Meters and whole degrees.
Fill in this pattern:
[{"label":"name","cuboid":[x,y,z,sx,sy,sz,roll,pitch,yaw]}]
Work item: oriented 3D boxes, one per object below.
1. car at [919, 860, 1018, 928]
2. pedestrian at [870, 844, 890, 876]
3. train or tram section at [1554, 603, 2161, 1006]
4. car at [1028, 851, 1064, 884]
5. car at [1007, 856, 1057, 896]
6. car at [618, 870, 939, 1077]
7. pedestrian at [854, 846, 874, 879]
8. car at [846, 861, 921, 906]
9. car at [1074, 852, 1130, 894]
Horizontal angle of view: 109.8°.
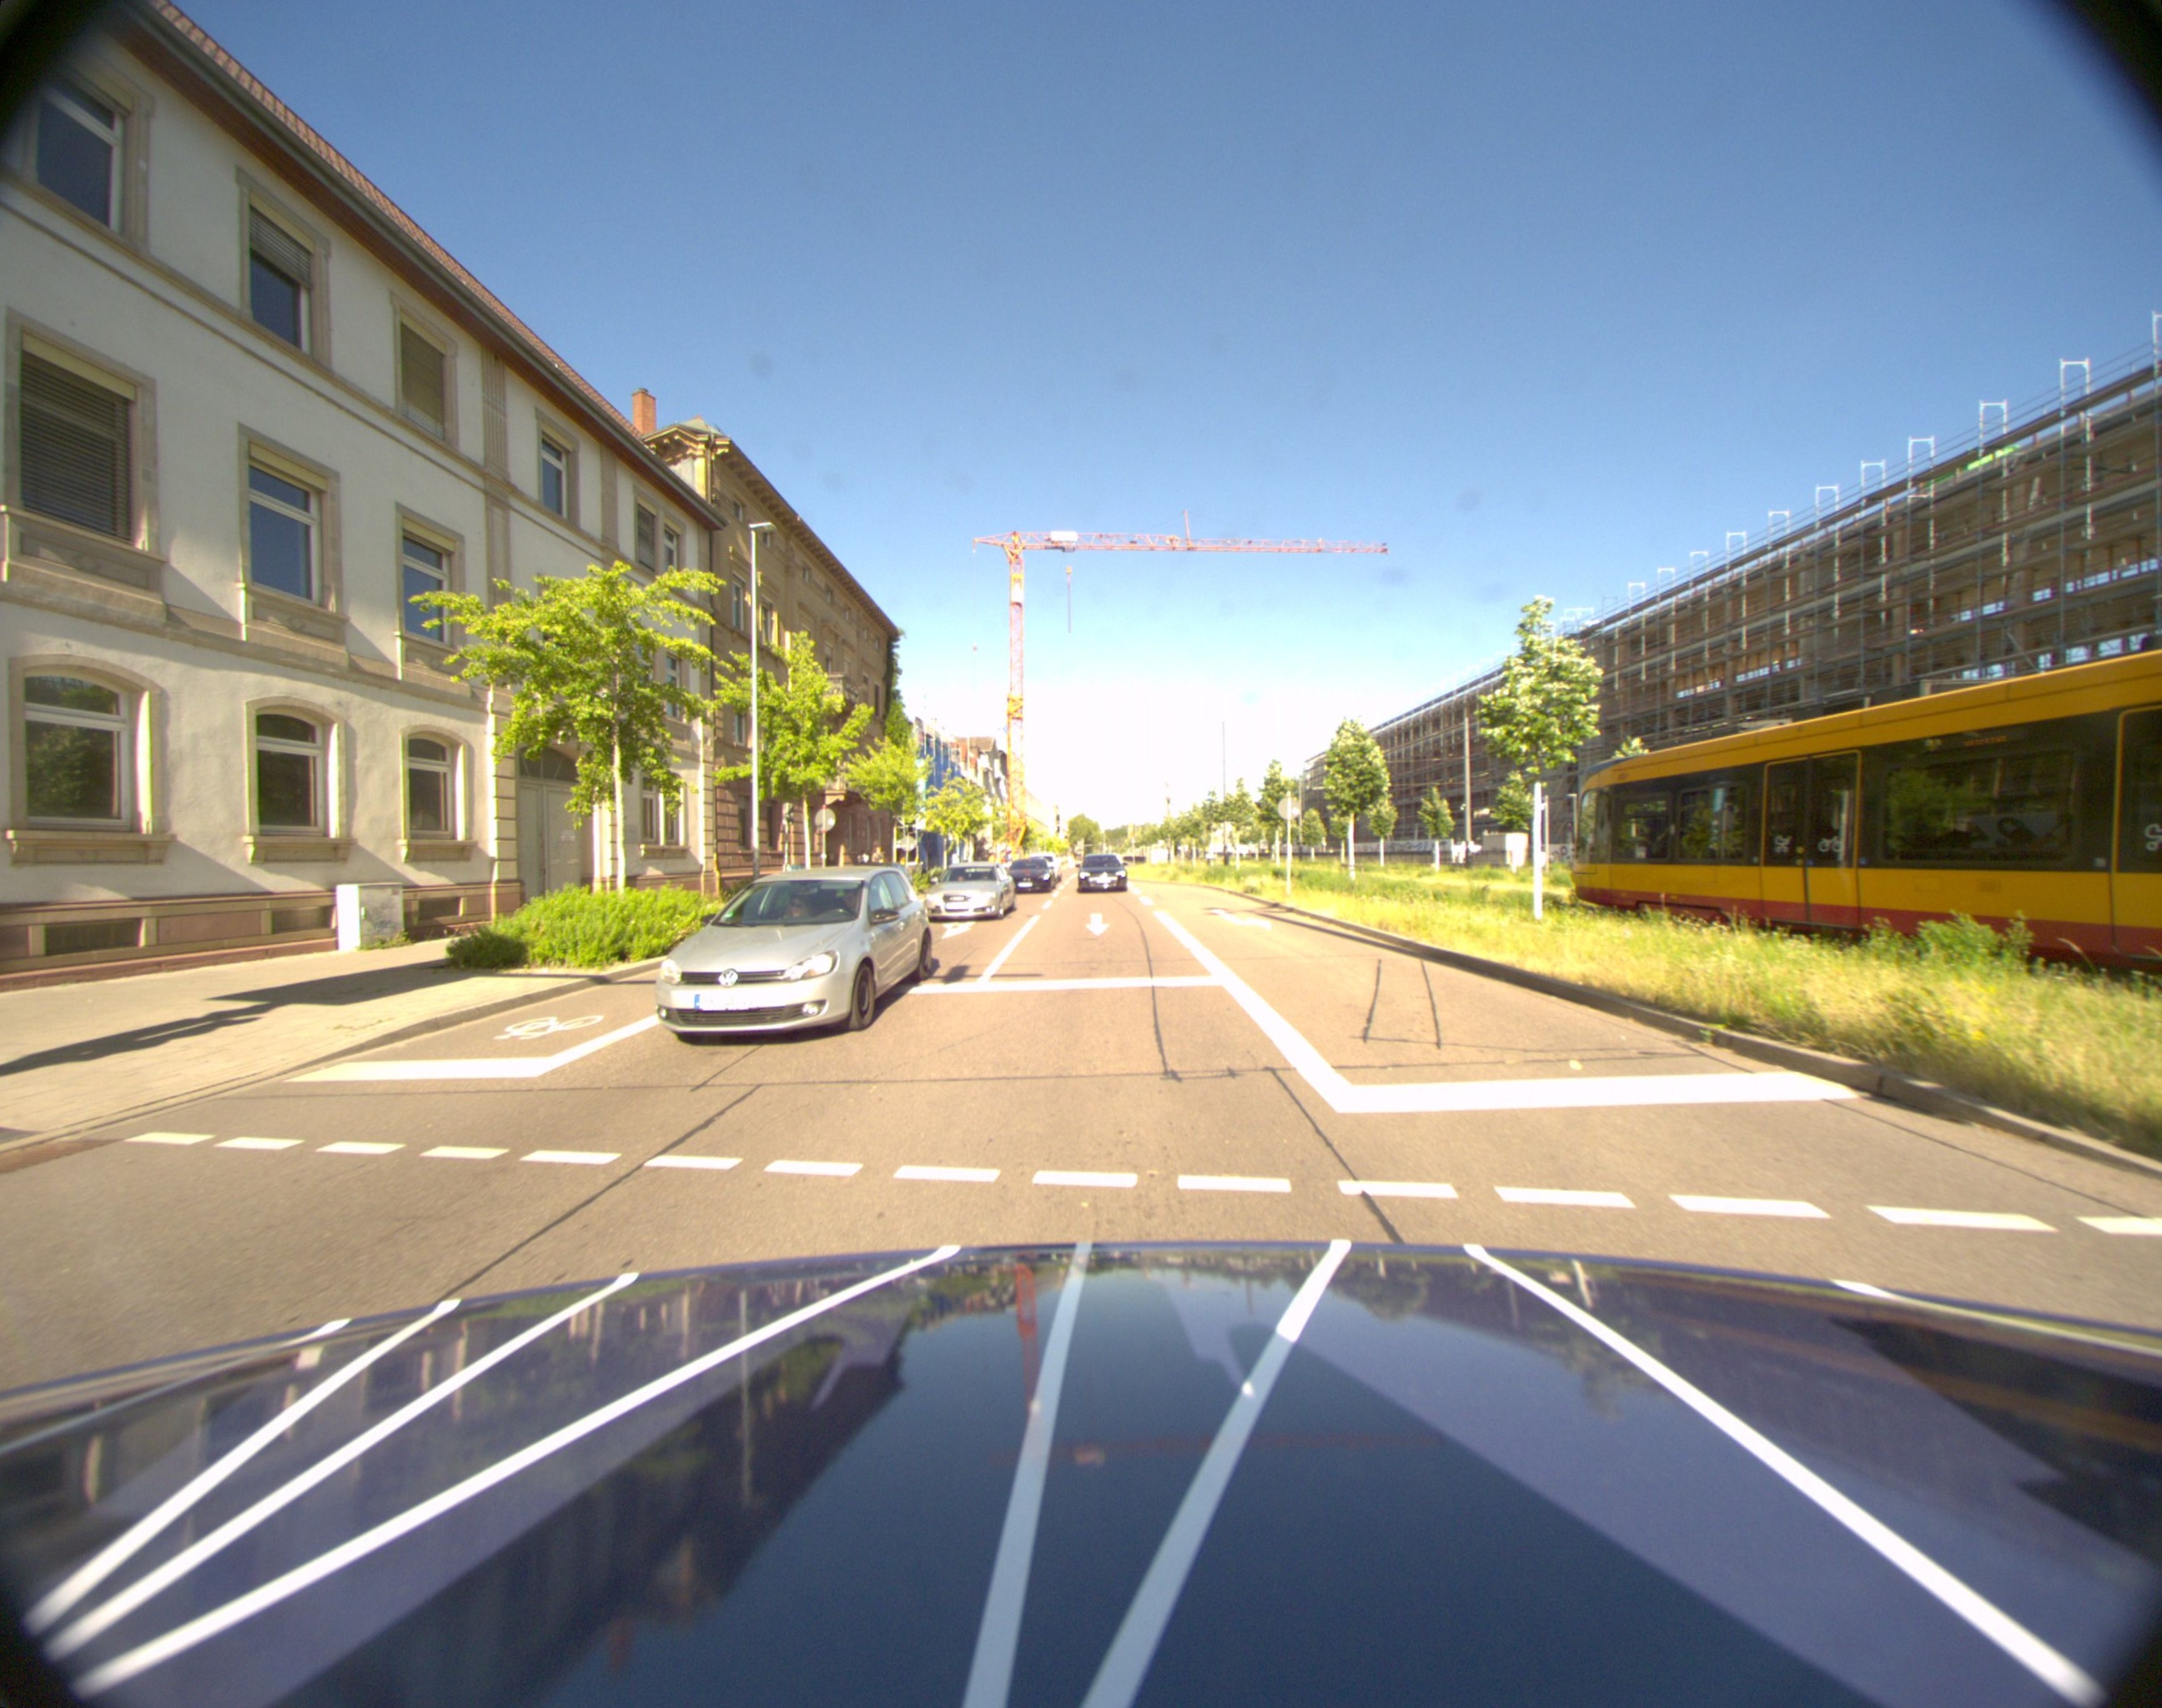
[{"label":"car","cuboid":[-2.741,0.933,19.382,1.839,1.415,3.999,-2,1,1]},{"label":"pedestrian","cuboid":[-9.883,0.292,37.394,0.669,1.552,0.906,-2,1,-1]},{"label":"train or tram section","cuboid":[11.032,-0.512,9.798,1.998,3.648,14.154,-2,1,4]},{"label":"car","cuboid":[-1.856,0.681,41.248,1.703,1.622,3.999,-2,1,1]},{"label":"car","cuboid":[-1.956,0.851,31.432,1.703,1.415,3.999,-2,1,1]},{"label":"car","cuboid":[-2.780,0.995,8.047,1.703,1.466,3.999,-2,1,1]},{"label":"pedestrian","cuboid":[-10.637,0.409,37.287,0.669,1.552,0.906,-2,1,-1]},{"label":"car","cuboid":[-7.095,1.007,27.696,1.610,1.435,3.999,0,1,1]},{"label":"car","cuboid":[0.751,0.695,29.934,1.999,1.493,3.999,-1,1,-1]}]
